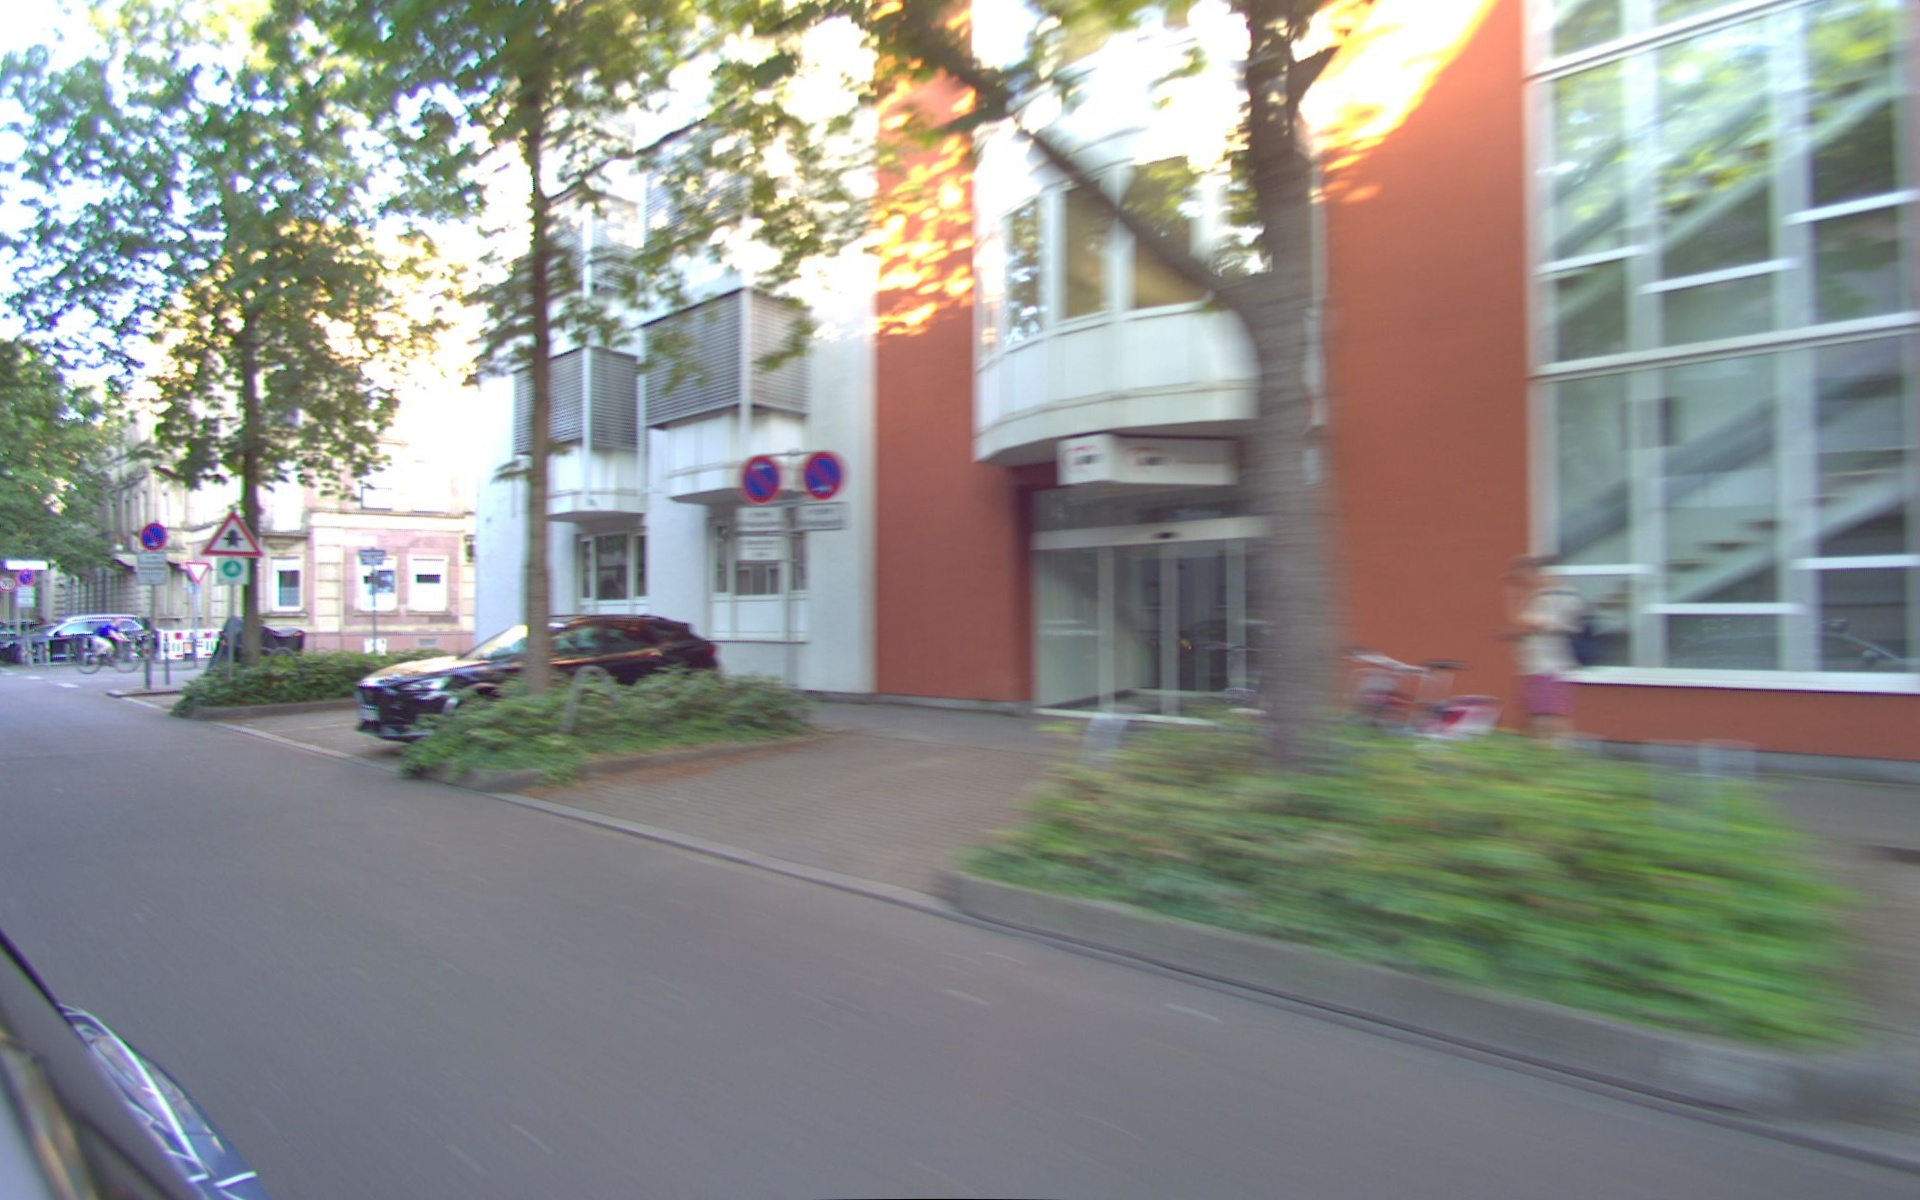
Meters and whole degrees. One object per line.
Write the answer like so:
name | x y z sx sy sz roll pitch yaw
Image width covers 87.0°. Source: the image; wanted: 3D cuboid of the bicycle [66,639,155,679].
bicycle | -24.405 1.676 29.096 1.947 1.038 0.675 -2 0 -4

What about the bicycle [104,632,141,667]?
bicycle | -28.509 1.681 34.446 1.861 1.070 0.661 0 3 41

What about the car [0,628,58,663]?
car | -44.596 2.108 46.991 1.907 1.544 3.902 -1 -1 43

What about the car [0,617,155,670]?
car | -31.473 1.516 35.819 1.872 1.663 4.379 -3 -1 42

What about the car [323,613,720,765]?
car | -5.244 0.947 12.526 1.928 1.497 4.085 -2 -1 40

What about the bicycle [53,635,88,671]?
bicycle | -29.381 1.746 33.423 1.860 1.067 0.517 0 2 39

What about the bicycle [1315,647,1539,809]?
bicycle | 3.509 0.908 7.561 1.769 1.037 0.502 -1 -1 -27

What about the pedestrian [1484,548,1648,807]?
pedestrian | 4.417 0.533 7.408 0.693 1.770 0.742 0 -1 -25

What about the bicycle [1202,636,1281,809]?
bicycle | 2.192 0.867 7.806 0.496 1.116 1.790 -1 -1 17

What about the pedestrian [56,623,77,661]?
pedestrian | -41.881 1.963 47.450 0.725 1.752 0.672 -1 -1 -43

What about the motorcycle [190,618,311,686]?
motorcycle | -16.524 1.193 23.646 0.853 1.493 2.199 -2 -2 22

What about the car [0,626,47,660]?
car | -49.461 2.249 51.565 1.906 1.684 4.158 -3 -1 41

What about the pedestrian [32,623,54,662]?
pedestrian | -42.239 1.949 46.635 0.725 1.752 0.672 -1 -1 -43

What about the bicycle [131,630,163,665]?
bicycle | -28.144 1.626 35.013 1.861 1.116 0.511 0 2 41

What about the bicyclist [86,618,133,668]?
bicyclist | -24.451 1.232 29.106 0.764 1.374 0.675 -2 -1 -6
